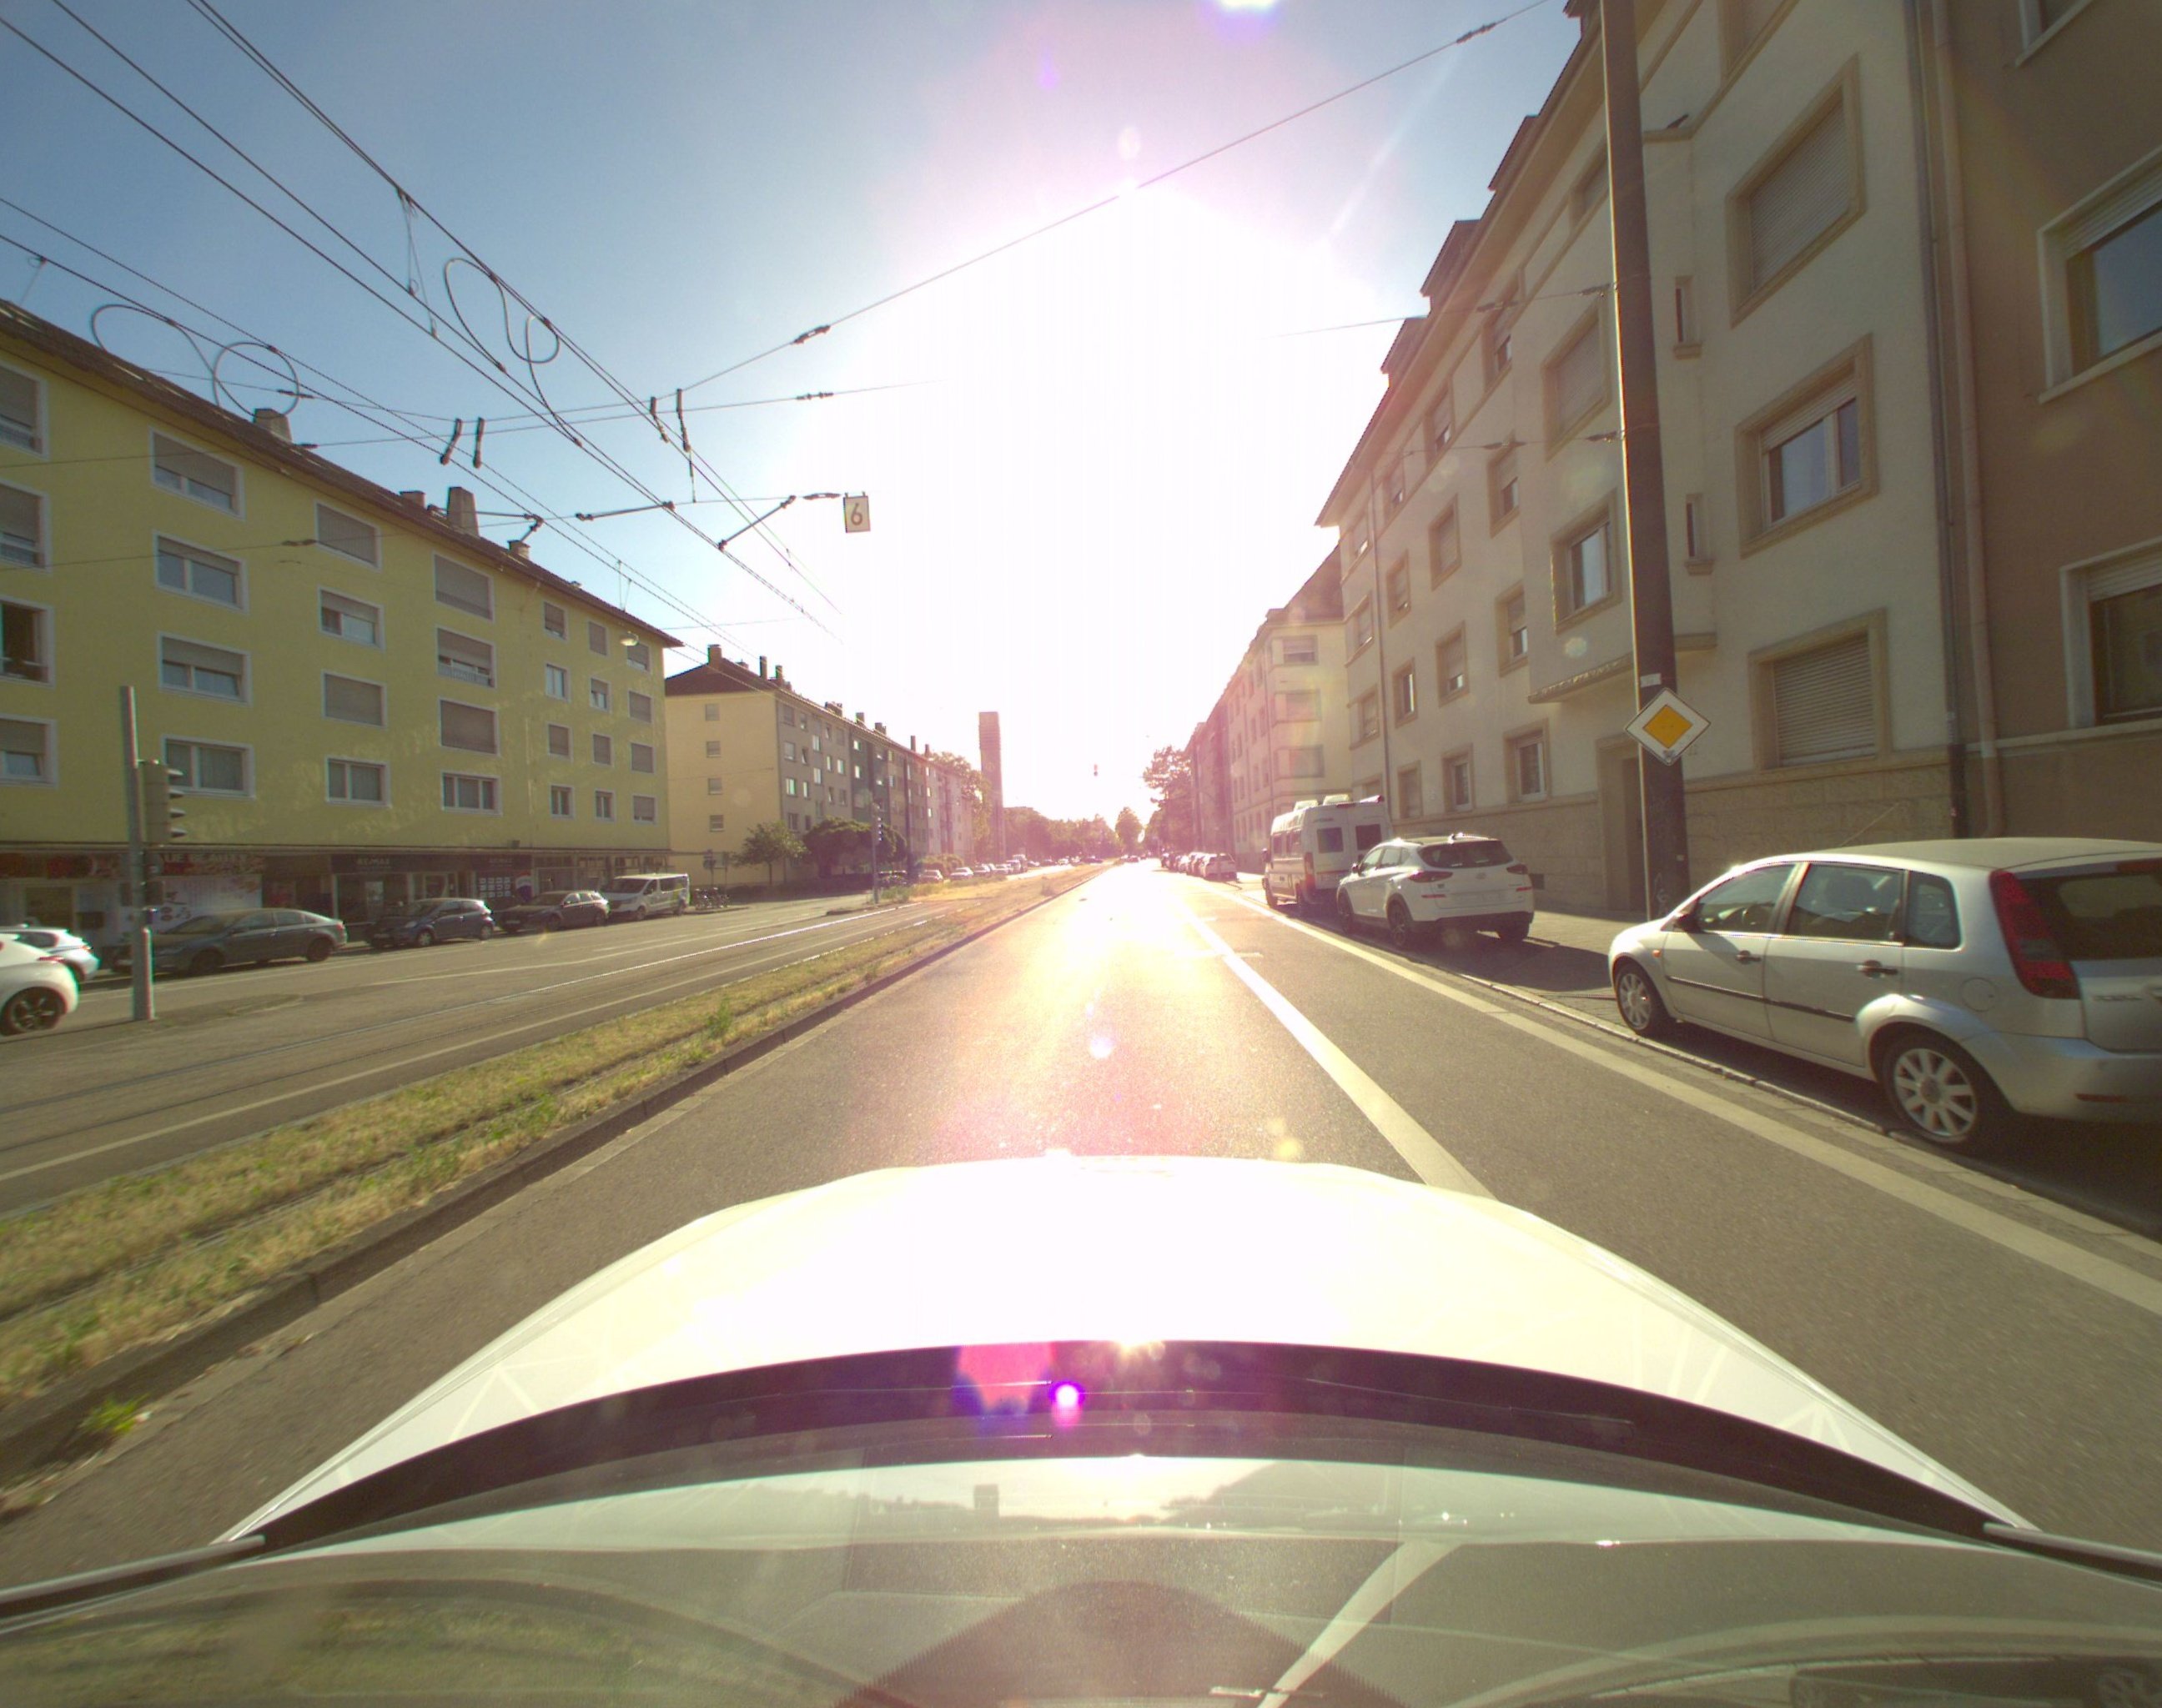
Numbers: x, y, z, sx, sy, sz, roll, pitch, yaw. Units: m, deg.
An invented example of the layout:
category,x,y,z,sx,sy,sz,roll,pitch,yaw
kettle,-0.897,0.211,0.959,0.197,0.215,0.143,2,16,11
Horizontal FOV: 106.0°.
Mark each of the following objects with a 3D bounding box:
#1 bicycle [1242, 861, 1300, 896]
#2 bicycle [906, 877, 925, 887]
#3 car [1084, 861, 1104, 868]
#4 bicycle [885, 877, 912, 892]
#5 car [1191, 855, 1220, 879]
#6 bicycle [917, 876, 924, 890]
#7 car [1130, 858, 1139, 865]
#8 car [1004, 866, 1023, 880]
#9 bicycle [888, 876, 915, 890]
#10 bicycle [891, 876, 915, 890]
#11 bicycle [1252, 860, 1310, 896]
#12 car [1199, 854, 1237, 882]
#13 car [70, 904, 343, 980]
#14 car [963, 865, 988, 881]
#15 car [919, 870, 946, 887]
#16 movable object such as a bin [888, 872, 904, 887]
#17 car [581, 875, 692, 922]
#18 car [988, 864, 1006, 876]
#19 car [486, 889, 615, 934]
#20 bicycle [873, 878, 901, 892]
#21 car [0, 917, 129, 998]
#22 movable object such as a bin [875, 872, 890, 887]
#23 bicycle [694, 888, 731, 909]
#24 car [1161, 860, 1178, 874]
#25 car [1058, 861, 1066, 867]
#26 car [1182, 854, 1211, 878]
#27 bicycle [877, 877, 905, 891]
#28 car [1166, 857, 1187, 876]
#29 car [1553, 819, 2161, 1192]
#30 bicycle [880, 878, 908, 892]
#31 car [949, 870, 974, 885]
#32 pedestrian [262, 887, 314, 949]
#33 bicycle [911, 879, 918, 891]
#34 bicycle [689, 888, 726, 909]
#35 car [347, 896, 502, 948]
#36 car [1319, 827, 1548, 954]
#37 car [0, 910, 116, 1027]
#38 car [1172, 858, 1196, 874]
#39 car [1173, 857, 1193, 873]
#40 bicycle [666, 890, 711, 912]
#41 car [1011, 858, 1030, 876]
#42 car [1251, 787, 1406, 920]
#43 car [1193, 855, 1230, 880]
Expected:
category,x,y,z,sx,sy,sz,roll,pitch,yaw
bicycle,6.375,0.830,27.382,0.476,1.087,1.894,-3,-1,-43
bicycle,-13.614,2.295,66.934,1.567,0.869,0.420,0,-1,25
car,3.099,2.439,190.958,4.518,1.611,1.880,0,-1,-35
bicycle,-14.431,2.411,64.357,2.036,1.092,0.617,0,-1,9
car,8.817,0.903,58.054,1.628,1.517,4.193,-3,-1,4
bicycle,-13.269,2.367,67.324,0.509,1.092,1.930,0,-1,-8
car,10.733,1.521,164.463,1.688,1.508,3.700,-1,-1,2
car,-10.135,2.825,122.640,2.023,2.021,5.377,0,-1,5
bicycle,-14.320,2.329,65.054,2.036,1.092,0.617,0,-1,9
bicycle,-14.534,2.342,66.438,2.028,1.092,0.619,0,-1,30
bicycle,6.796,0.825,27.744,0.476,1.087,1.894,-5,0,-43
car,7.869,0.778,47.169,1.686,1.458,4.384,-3,-1,4
car,-21.141,2.066,20.033,1.775,1.420,4.419,0,-1,3
car,-12.434,2.195,96.248,1.985,1.838,4.613,0,-1,4
car,-13.258,2.211,72.871,1.629,1.442,3.735,0,-1,1
movable object such as a bin,-17.565,2.398,77.299,1.141,1.368,1.041,0,-1,6
car,-20.247,1.966,37.442,1.987,1.949,5.500,0,-1,0
car,-11.419,2.160,110.899,1.885,1.491,4.705,-1,-1,2
car,-20.426,2.179,31.647,1.775,1.474,4.600,0,-1,3
bicycle,-14.818,2.366,62.203,2.036,1.092,0.617,0,-1,9
car,-21.252,2.022,15.162,1.776,1.385,4.416,0,-1,1
movable object such as a bin,-18.851,2.401,77.403,1.141,1.368,1.041,0,-1,6
bicycle,-19.879,2.376,43.947,1.811,1.106,0.391,0,-1,3
car,11.733,1.720,108.018,1.870,1.717,4.940,-6,-1,4
car,-4.969,2.704,213.534,1.799,1.533,4.365,-3,-1,4
car,8.953,0.922,63.320,1.630,1.647,4.375,-5,-1,1
bicycle,-14.678,2.308,62.895,2.036,1.092,0.617,0,-1,9
car,10.873,1.398,92.963,1.905,1.899,5.139,-6,-1,3
car,5.015,0.620,5.386,1.614,1.460,4.060,-5,-1,5
bicycle,-14.582,2.437,63.643,2.036,1.092,0.617,0,-1,9
car,-12.542,2.410,85.774,1.721,1.454,4.380,-2,-1,4
pedestrian,-24.761,1.987,25.442,0.668,1.860,0.924,0,-1,3
bicycle,-13.743,2.556,67.257,0.376,0.866,2.049,0,-1,-8
bicycle,-19.918,2.370,43.481,1.811,1.106,0.391,0,-1,3
car,-20.942,2.138,26.199,1.775,1.385,3.771,0,-1,3
car,5.545,0.528,13.554,1.841,1.637,4.576,-4,-1,1
car,-14.363,1.508,9.136,1.829,1.385,4.411,-3,0,-3
car,9.339,1.078,73.922,1.695,1.275,4.306,-6,-1,3
car,10.236,1.119,81.703,1.628,1.454,3.793,-5,-1,4
bicycle,-20.133,2.419,41.743,2.088,1.106,0.473,0,-1,3
car,-9.595,2.045,129.877,2.023,2.869,6.235,-1,-1,5
car,5.983,0.022,20.685,2.142,2.696,6.297,-5,-1,3
car,8.445,0.888,52.962,1.630,1.458,4.080,-3,-1,0
